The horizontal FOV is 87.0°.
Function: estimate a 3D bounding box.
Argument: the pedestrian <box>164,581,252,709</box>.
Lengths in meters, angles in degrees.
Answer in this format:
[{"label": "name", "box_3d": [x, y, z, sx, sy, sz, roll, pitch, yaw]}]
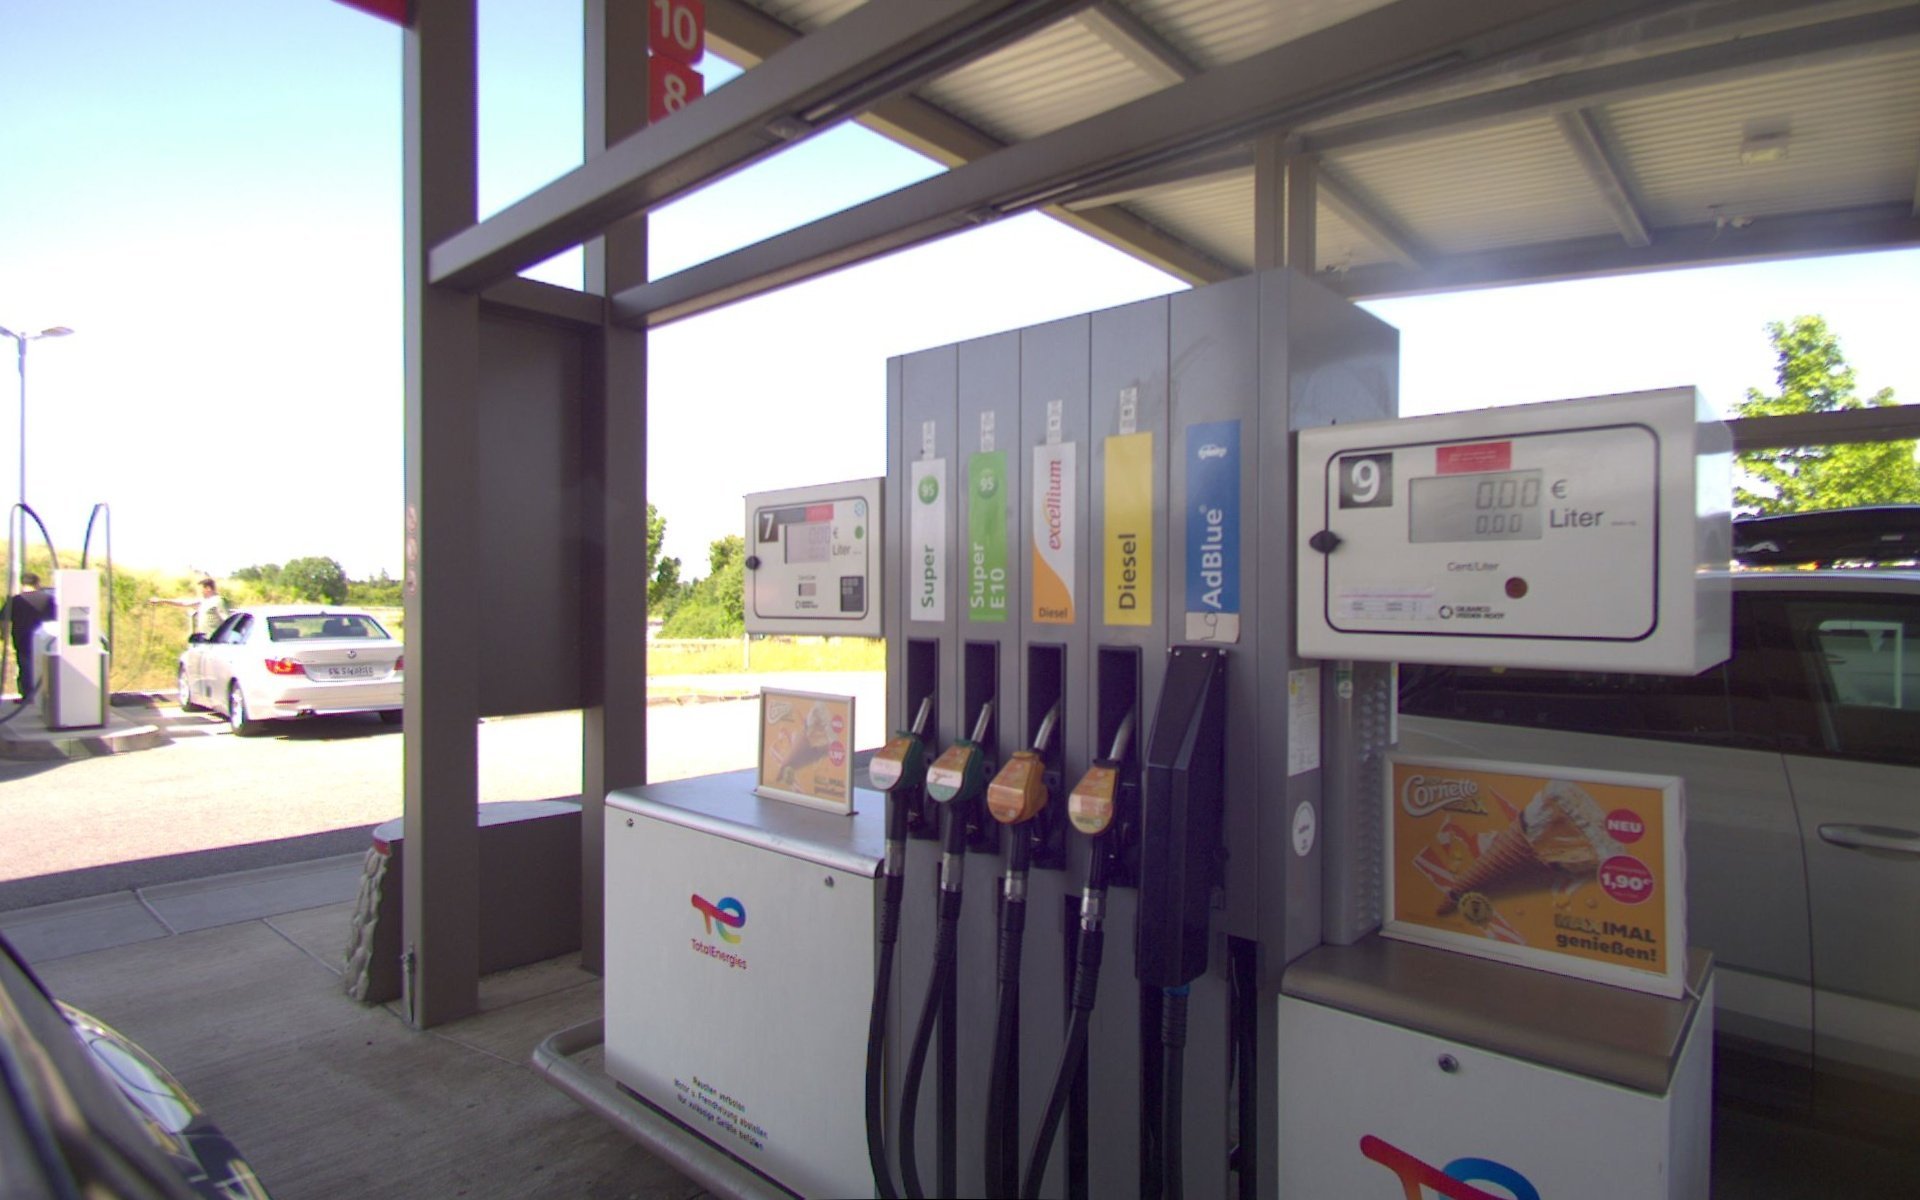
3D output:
[{"label": "pedestrian", "box_3d": [-10.802, 0.631, 14.547, 0.708, 1.762, 0.835, -1, -1, 35]}]

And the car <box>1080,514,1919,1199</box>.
[{"label": "car", "box_3d": [2.599, 0.601, 2.691, 4.325, 1.553, 1.761, -1, -1, 43]}]

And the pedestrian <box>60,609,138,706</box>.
[{"label": "pedestrian", "box_3d": [-12.070, 0.791, 14.206, 0.569, 1.316, 0.670, 0, -1, -8]}]

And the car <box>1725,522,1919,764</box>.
[{"label": "car", "box_3d": [8.241, 0.288, 7.114, 4.530, 1.700, 1.842, -1, -1, 38]}]

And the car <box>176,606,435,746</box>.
[{"label": "car", "box_3d": [-8.382, 0.812, 12.803, 4.322, 1.439, 1.768, 1, 0, 43]}]

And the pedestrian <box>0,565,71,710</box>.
[{"label": "pedestrian", "box_3d": [-11.928, 0.468, 12.970, 0.845, 1.783, 0.699, -1, -1, 41]}]
